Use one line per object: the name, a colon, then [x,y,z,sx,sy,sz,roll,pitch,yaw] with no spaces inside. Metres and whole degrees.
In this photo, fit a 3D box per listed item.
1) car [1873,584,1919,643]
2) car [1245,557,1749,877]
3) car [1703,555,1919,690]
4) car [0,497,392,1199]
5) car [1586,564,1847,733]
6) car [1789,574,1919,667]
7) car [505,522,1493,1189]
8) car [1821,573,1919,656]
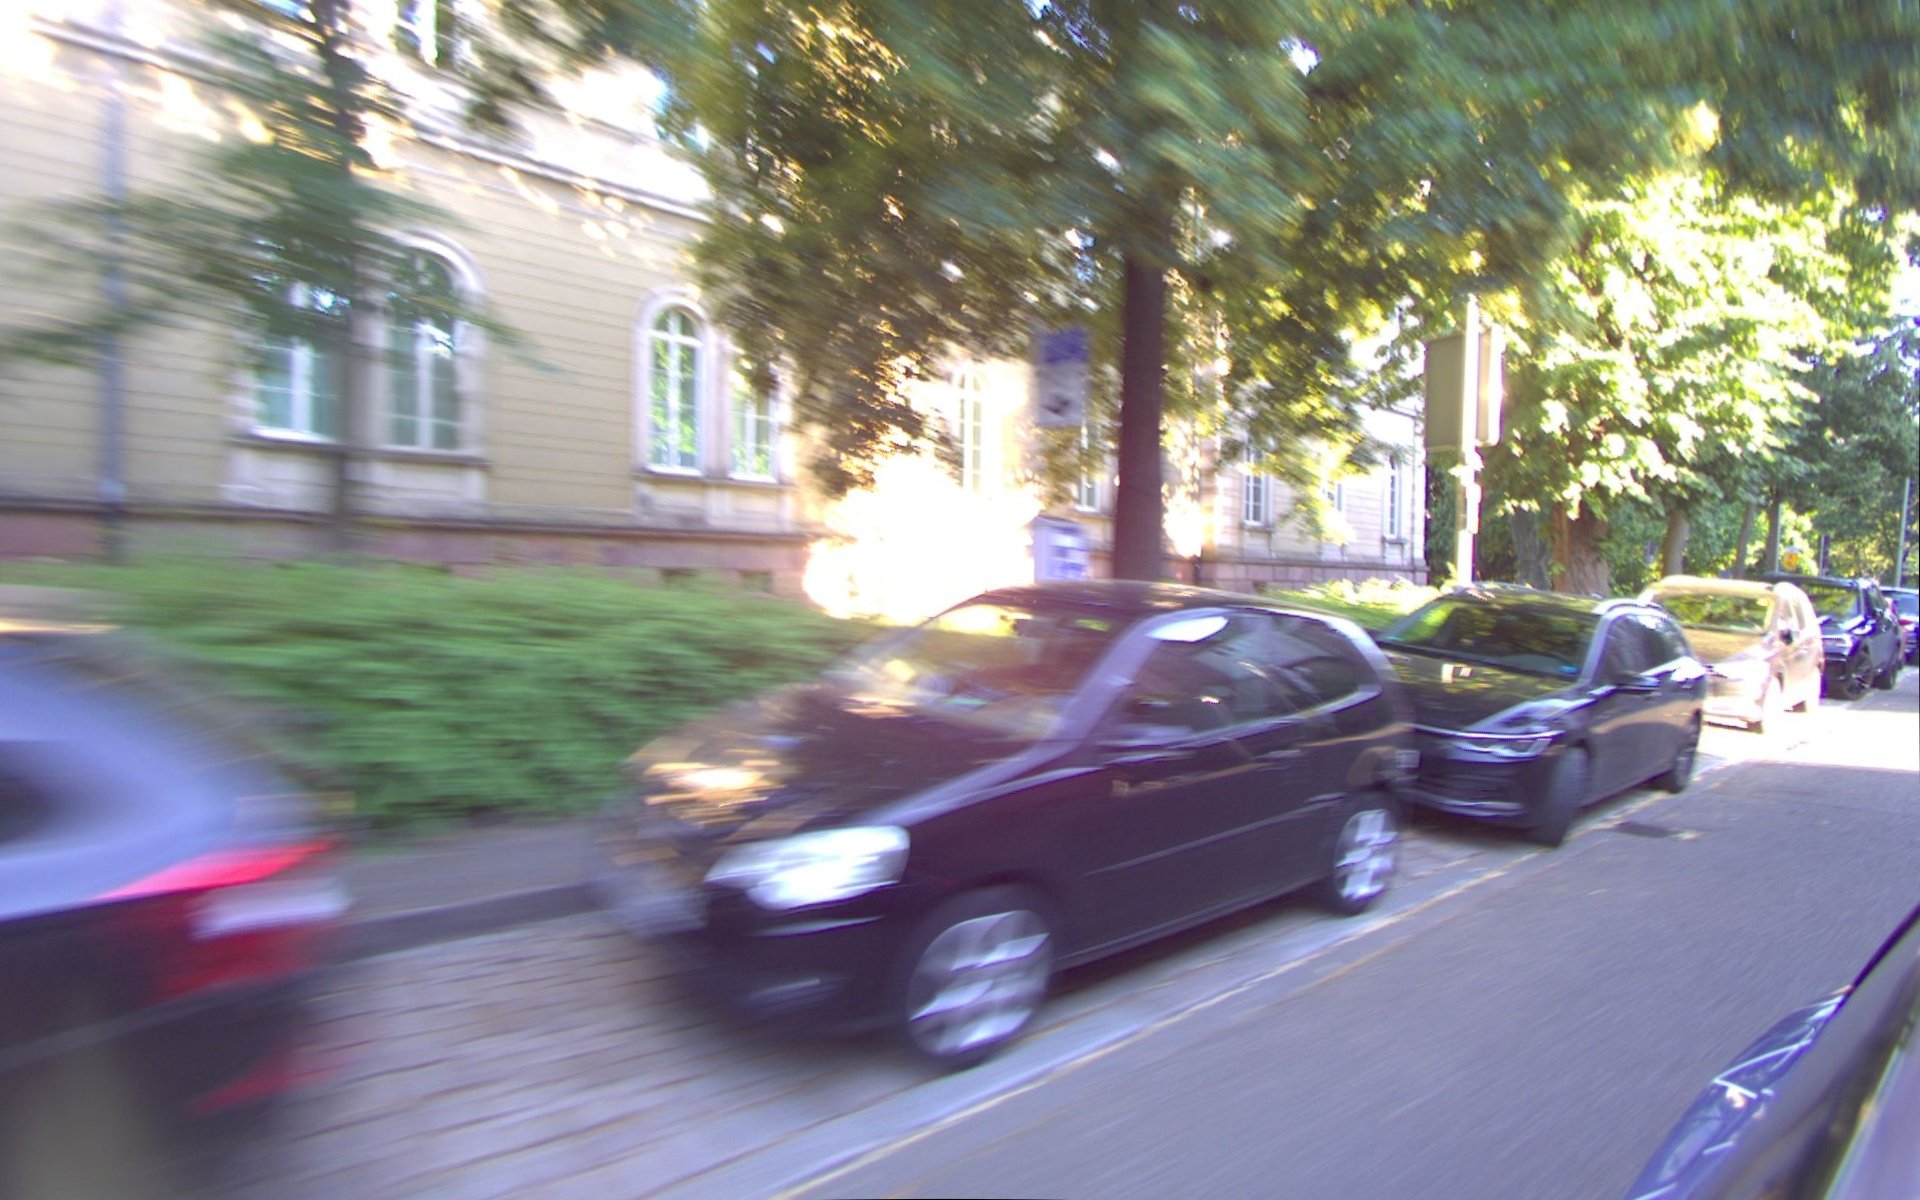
car: [26.020,0.328,27.338,3.934,1.456,1.725,-2,3,-44]
car: [4.159,0.545,7.455,4.544,1.551,1.728,-2,7,-42]
car: [13.673,0.232,16.076,4.859,1.835,1.809,-1,3,-39]
car: [-3.328,0.602,1.132,4.445,1.525,1.737,-2,3,-42]
car: [9.414,0.426,12.460,4.423,1.703,1.727,-2,3,-42]
car: [17.945,0.321,20.171,3.904,1.608,1.725,-2,3,-44]
car: [0.448,0.544,4.387,4.114,1.551,1.729,-1,6,-39]
car: [21.462,0.251,23.262,4.614,1.708,1.885,-2,3,-42]
